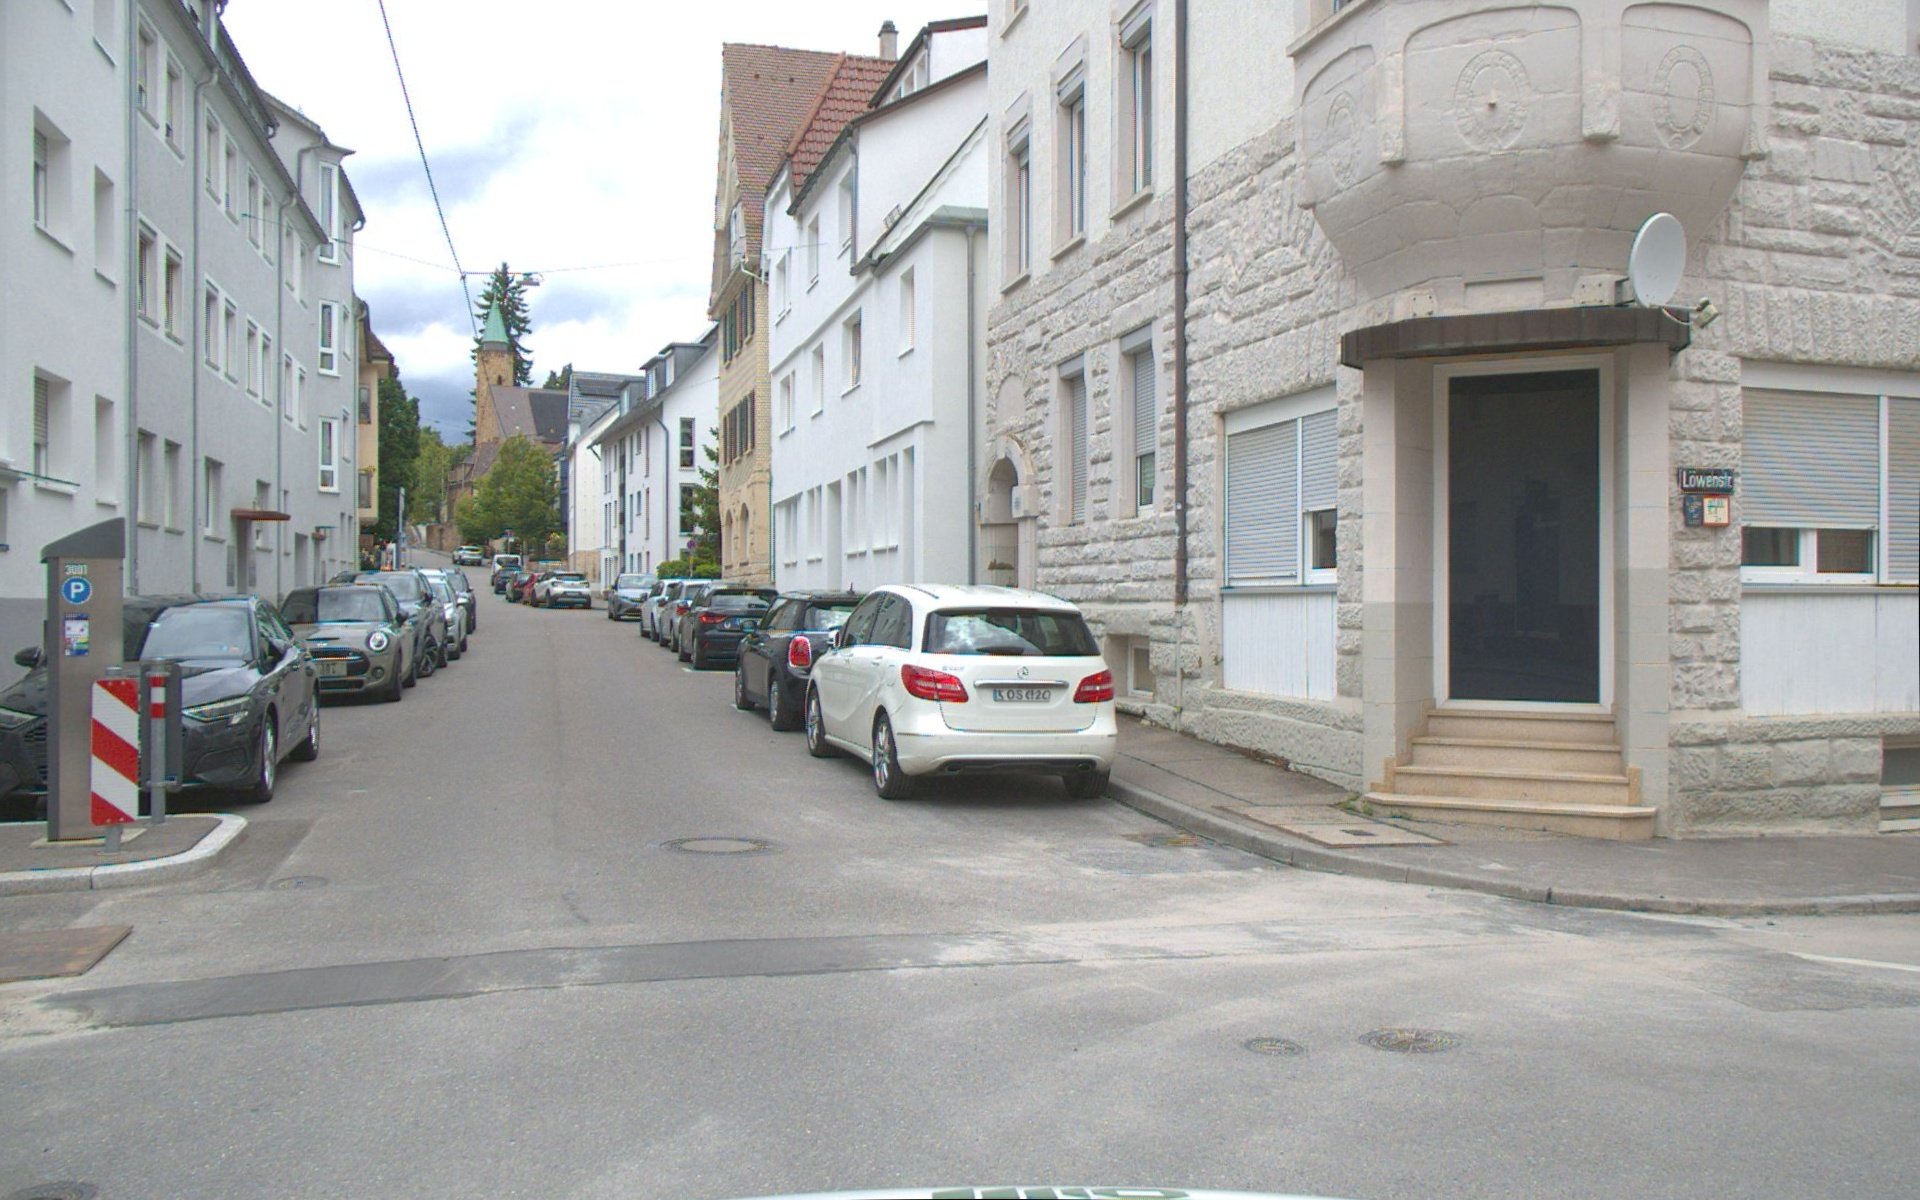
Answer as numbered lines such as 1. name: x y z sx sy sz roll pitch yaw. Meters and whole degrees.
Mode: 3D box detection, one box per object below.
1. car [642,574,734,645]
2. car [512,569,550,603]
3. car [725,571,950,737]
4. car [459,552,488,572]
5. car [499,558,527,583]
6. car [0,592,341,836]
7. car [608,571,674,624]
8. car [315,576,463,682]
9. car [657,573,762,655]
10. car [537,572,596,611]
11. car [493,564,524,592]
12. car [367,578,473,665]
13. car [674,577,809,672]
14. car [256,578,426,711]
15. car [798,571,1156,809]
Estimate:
1. car: -6.419 0.193 38.794 1.641 1.505 3.610 2 1 -17
2. car: -20.520 -0.693 79.030 1.641 1.505 3.610 1 1 -17
3. car: -1.475 0.516 18.376 1.641 1.559 4.009 2 1 -17
4. car: -42.092 -3.293 143.068 2.151 1.723 3.603 1 1 -22
5. car: -28.729 -1.907 106.283 1.641 1.505 3.610 1 1 -17
6. car: -5.791 0.686 12.370 1.790 1.416 4.280 -1 1 -16
7. car: -9.978 -0.104 51.521 1.641 1.505 3.610 2 1 -17
8. car: -8.829 0.388 25.829 1.700 1.495 3.709 -1 1 -12
9. car: -5.242 0.252 34.335 1.641 1.505 3.610 2 1 -17
10. car: -16.403 -0.380 68.852 1.760 1.505 3.600 0 1 -24
11. car: -26.006 -1.282 95.156 1.641 1.505 3.610 1 1 -17
12. car: -10.006 0.351 30.862 1.702 1.473 3.704 -1 1 -16
13. car: -3.807 0.368 28.319 1.641 1.409 4.009 2 1 -17
14. car: -7.830 0.488 21.209 1.702 1.515 3.704 -1 1 -16
15. car: -0.039 0.611 13.516 1.791 1.627 4.009 2 0 -17
